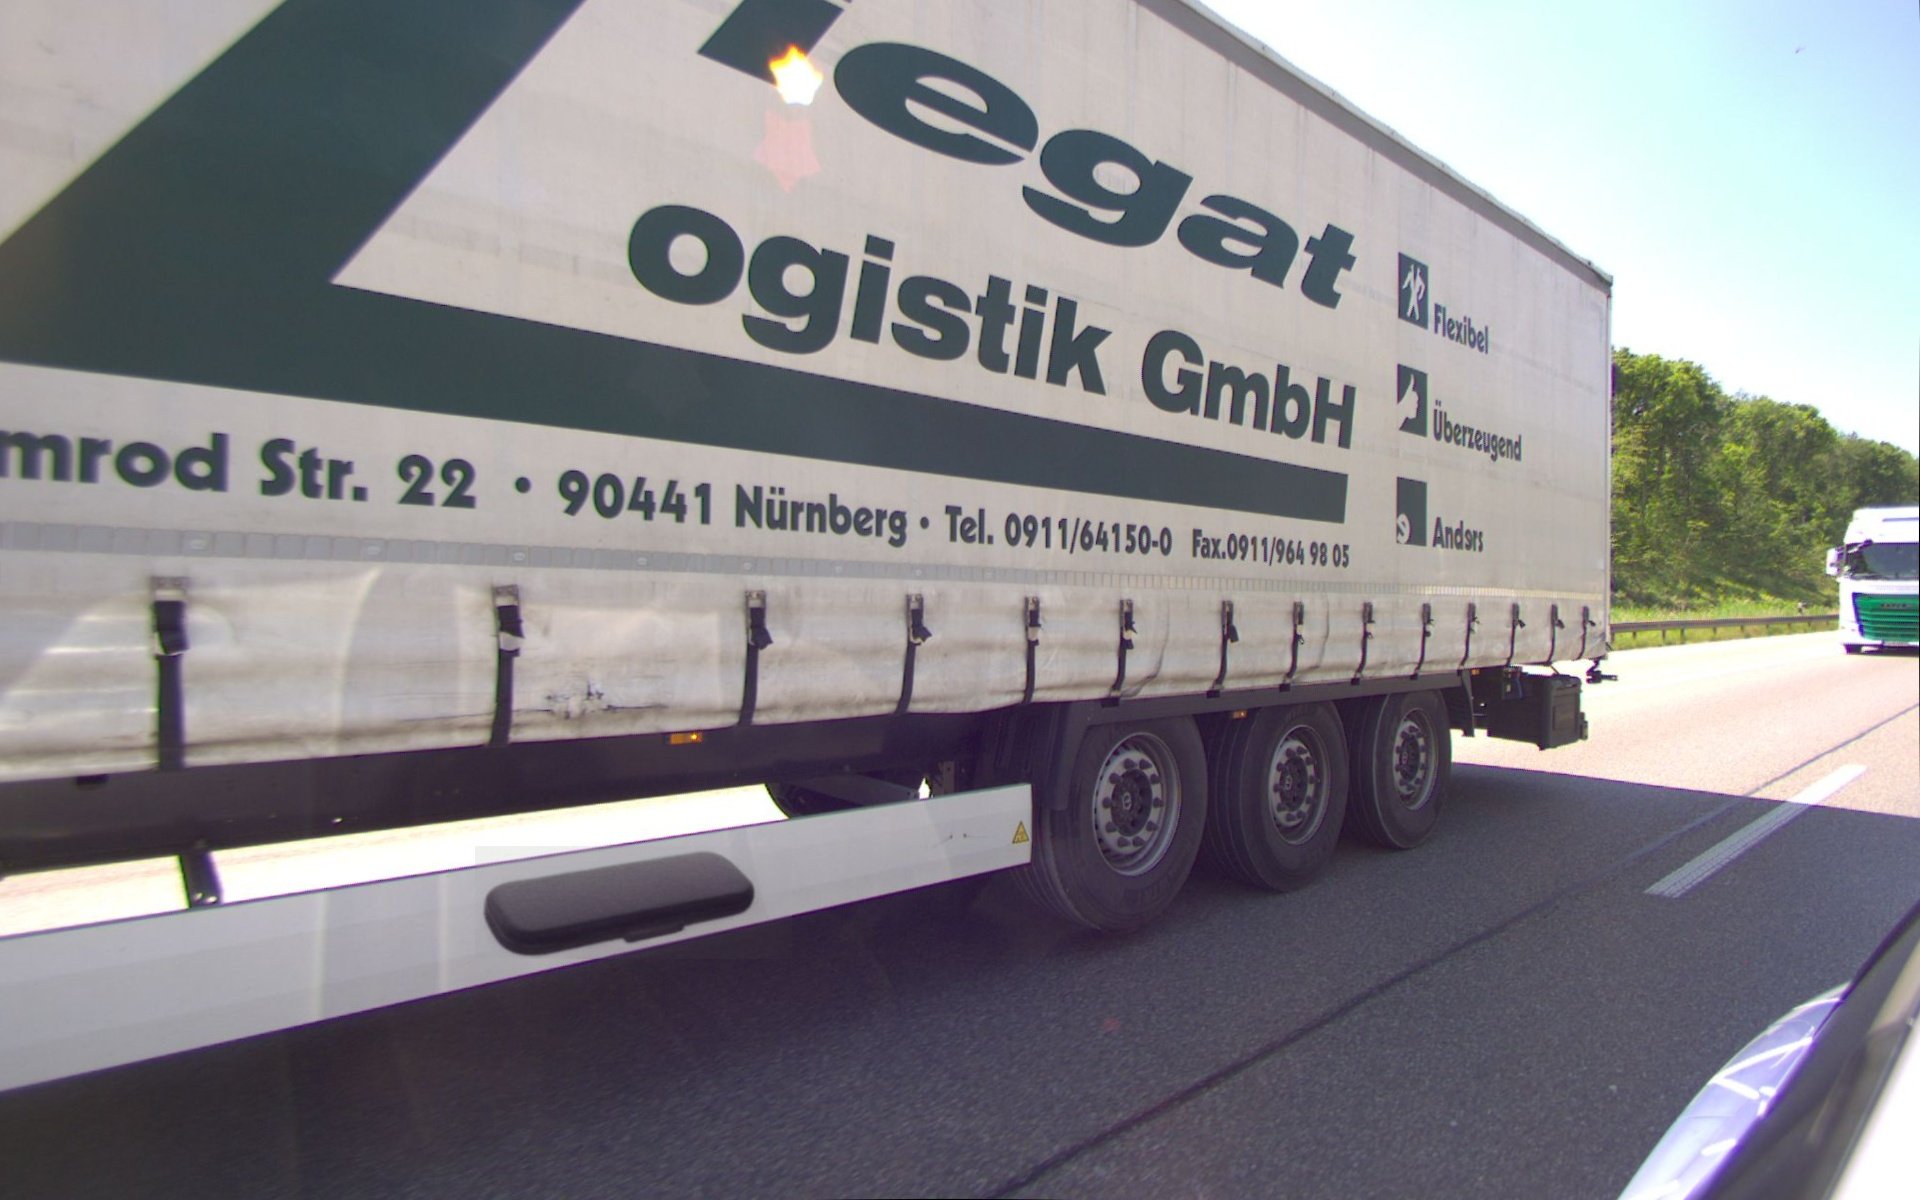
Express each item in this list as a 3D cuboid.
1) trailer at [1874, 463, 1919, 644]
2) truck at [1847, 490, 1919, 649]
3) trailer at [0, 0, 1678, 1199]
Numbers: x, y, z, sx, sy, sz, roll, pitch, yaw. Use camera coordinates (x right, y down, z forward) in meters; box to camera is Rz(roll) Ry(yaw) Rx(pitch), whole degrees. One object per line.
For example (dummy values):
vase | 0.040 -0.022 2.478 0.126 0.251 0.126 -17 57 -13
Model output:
trailer | 32.916 -1.418 33.029 15.002 5.103 2.573 -1 1 -40
truck | 27.008 -0.822 28.096 6.507 4.080 2.541 -1 1 -39
trailer | 0.427 -0.693 5.503 13.012 4.259 2.790 1 -1 -41
